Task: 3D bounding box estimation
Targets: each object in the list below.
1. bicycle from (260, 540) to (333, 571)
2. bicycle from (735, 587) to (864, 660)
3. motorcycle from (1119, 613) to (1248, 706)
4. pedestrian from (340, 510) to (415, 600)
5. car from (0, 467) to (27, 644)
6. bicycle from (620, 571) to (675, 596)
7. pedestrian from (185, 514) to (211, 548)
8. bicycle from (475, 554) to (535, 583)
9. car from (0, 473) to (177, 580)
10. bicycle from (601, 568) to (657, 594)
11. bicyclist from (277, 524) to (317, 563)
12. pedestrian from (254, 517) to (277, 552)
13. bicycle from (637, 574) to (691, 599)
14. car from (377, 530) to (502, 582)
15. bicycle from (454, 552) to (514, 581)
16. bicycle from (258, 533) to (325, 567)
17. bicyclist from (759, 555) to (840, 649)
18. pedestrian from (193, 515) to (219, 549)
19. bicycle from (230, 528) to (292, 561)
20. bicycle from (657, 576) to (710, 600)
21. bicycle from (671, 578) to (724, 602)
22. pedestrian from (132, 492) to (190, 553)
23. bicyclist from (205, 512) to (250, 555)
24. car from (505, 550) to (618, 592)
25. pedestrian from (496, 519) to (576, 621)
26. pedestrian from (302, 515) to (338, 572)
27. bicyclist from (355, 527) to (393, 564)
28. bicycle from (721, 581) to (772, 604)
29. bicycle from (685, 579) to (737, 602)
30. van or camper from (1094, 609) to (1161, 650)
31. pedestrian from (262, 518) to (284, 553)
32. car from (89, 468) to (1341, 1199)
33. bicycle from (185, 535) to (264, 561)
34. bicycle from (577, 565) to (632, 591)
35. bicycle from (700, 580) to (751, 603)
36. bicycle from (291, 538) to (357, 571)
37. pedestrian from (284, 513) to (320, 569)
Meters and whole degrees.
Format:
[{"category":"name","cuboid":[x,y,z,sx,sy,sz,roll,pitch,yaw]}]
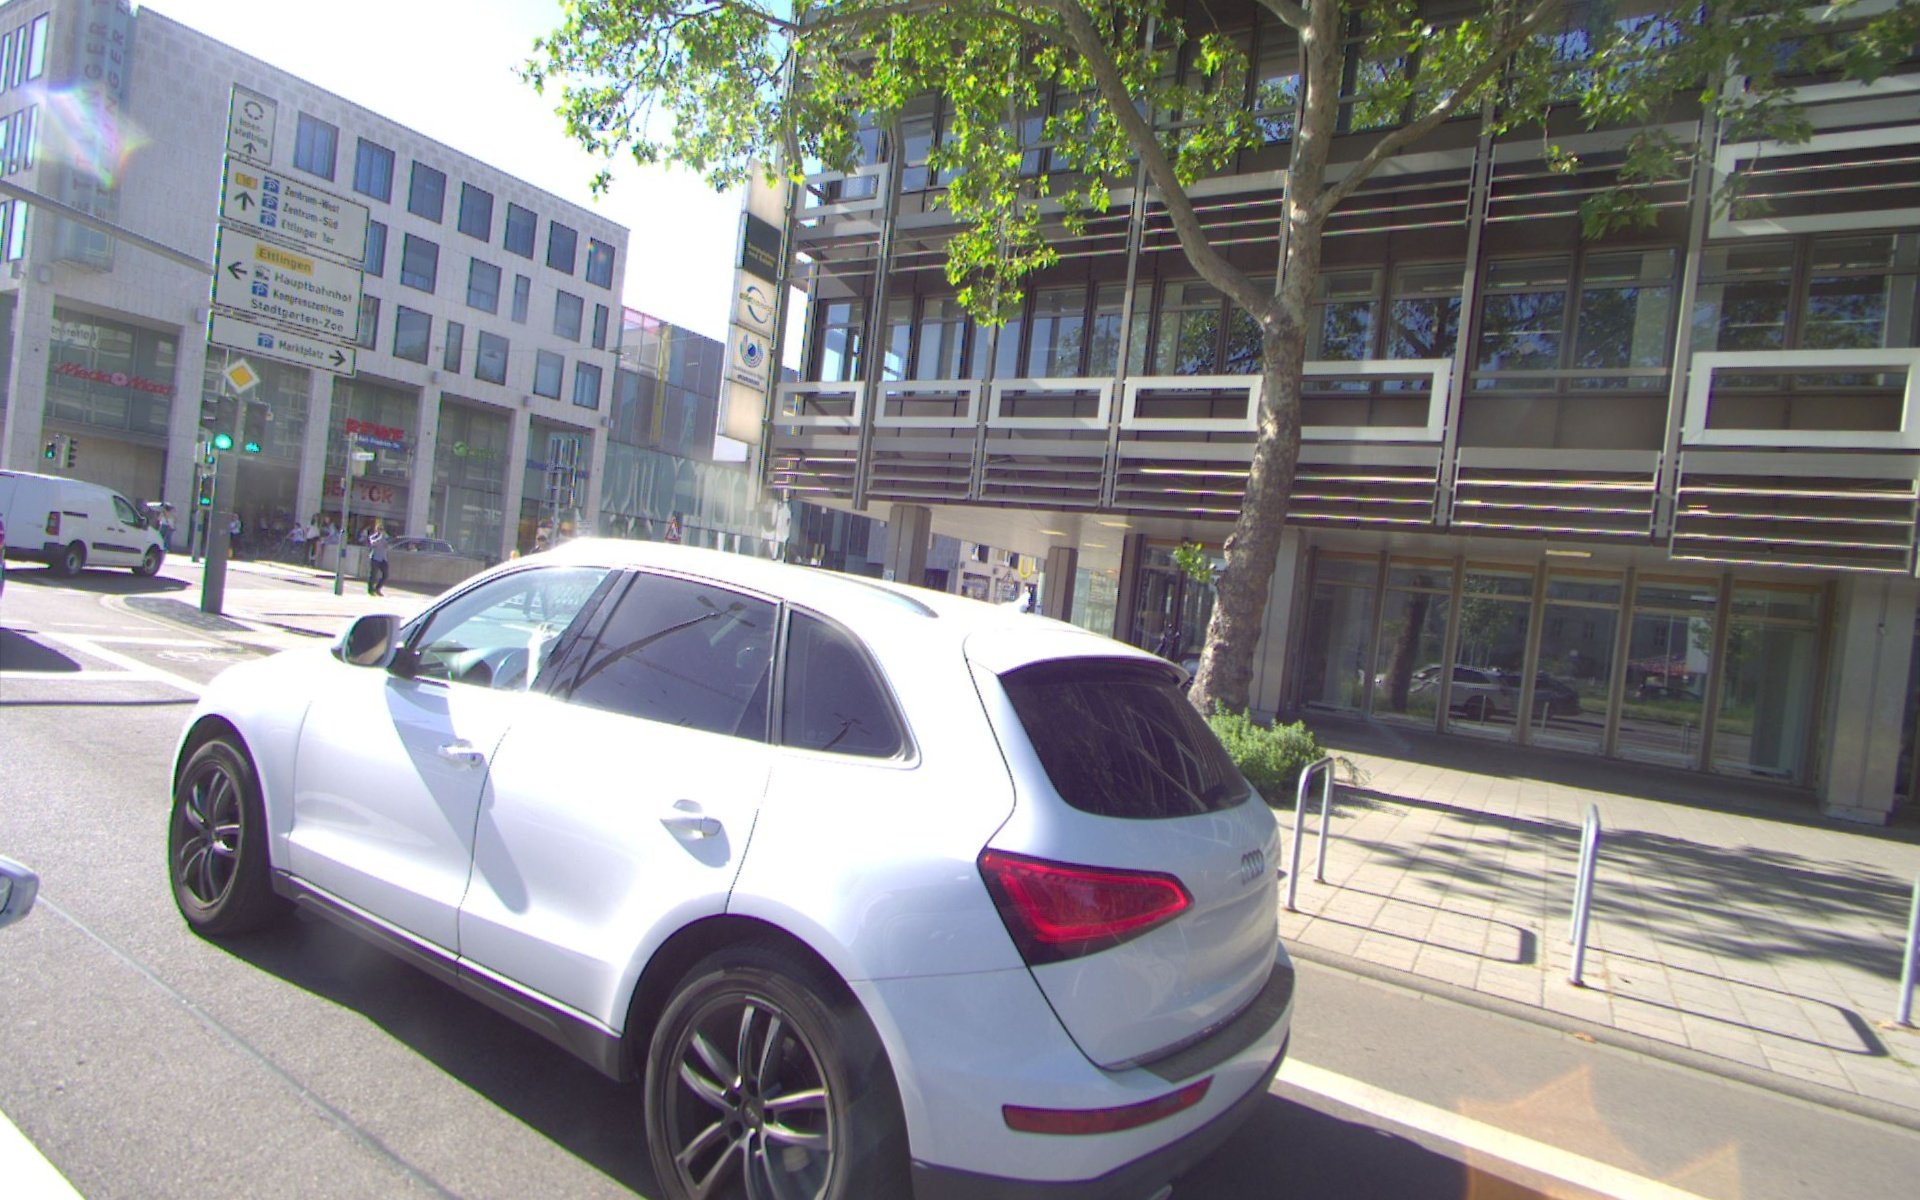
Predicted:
[{"category":"bicycle","cuboid":[-27.004,-1.812,40.954,1.055,0.955,2.194,7,0,35]},{"category":"bicycle","cuboid":[-2.777,0.395,17.352,2.017,0.997,0.882,7,0,31]},{"category":"motorcycle","cuboid":[4.198,1.098,18.958,2.087,1.459,0.824,7,1,32]},{"category":"pedestrian","cuboid":[-14.365,-1.090,24.828,1.059,2.038,0.949,7,0,20]},{"category":"car","cuboid":[-11.617,-0.712,10.364,4.340,1.720,1.787,7,0,32]},{"category":"bicycle","cuboid":[-18.378,-0.975,59.069,3.441,1.107,1.067,7,0,34]},{"category":"pedestrian","cuboid":[-38.470,-3.476,50.773,0.737,1.628,0.556,7,1,-5]},{"category":"bicycle","cuboid":[-23.468,-1.625,51.840,3.441,1.107,1.067,7,0,34]},{"category":"car","cuboid":[-17.308,-1.375,19.490,1.763,1.755,4.150,7,-1,-15]},{"category":"bicycle","cuboid":[-19.157,-1.090,58.198,3.441,1.107,1.067,7,0,34]},{"category":"bicyclist","cuboid":[-26.968,-2.281,40.910,1.059,1.413,0.933,7,1,35]},{"category":"pedestrian","cuboid":[-37.027,-3.483,53.631,0.639,1.785,0.556,7,1,-5]},{"category":"bicycle","cuboid":[-17.774,-0.844,60.385,3.441,1.107,1.067,7,0,34]},{"category":"car","cuboid":[-21.642,-1.803,41.960,1.831,1.632,4.188,5,-1,33]},{"category":"bicycle","cuboid":[-24.040,-1.705,50.804,3.441,1.107,1.067,7,0,34]},{"category":"bicycle","cuboid":[-29.078,-2.179,43.728,3.440,1.107,1.067,7,0,33]},{"category":"bicyclist","cuboid":[-2.773,0.041,17.382,0.869,1.495,0.882,7,1,31]},{"category":"pedestrian","cuboid":[-38.542,-3.459,51.430,0.737,1.628,0.556,7,1,-6]},{"category":"bicycle","cuboid":[-29.686,-2.372,42.734,2.942,1.107,1.067,7,0,33]},{"category":"bicycle","cuboid":[-16.912,-0.745,61.451,3.441,1.107,1.067,7,0,34]},{"category":"bicycle","cuboid":[-16.332,-0.633,62.537,3.441,1.107,1.067,7,0,34]},{"category":"pedestrian","cuboid":[-26.591,-2.576,33.476,1.497,1.825,0.967,7,3,31]},{"category":"bicyclist","cuboid":[-28.317,-2.572,38.899,1.055,1.494,1.022,7,1,35]},{"category":"car","cuboid":[-18.452,-1.316,46.791,1.831,1.438,4.608,5,-1,33]},{"category":"pedestrian","cuboid":[-9.154,-0.639,21.737,1.060,2.038,0.949,7,1,24]},{"category":"pedestrian","cuboid":[-19.426,-1.713,30.546,0.517,1.634,0.661,6,2,22]},{"category":"bicyclist","cuboid":[-25.301,-2.356,43.435,1.024,1.451,0.933,7,1,35]},{"category":"bicycle","cuboid":[-13.931,-0.469,65.688,3.441,1.107,1.067,7,0,34]},{"category":"bicycle","cuboid":[-15.714,-0.609,63.538,3.441,1.107,1.067,7,0,34]},{"category":"van or camper","cuboid":[12.621,2.234,75.367,2.286,2.545,6.411,7,0,34]},{"category":"pedestrian","cuboid":[-37.112,-3.499,54.319,0.639,1.785,0.556,7,1,-5]},{"category":"car","cuboid":[-1.144,0.572,3.685,4.340,1.633,1.822,7,0,32]},{"category":"bicycle","cuboid":[-28.394,-2.000,38.869,1.055,0.679,2.194,7,0,35]},{"category":"bicycle","cuboid":[-20.371,-1.280,57.600,3.441,1.107,1.067,7,0,34]},{"category":"bicycle","cuboid":[-15.042,-0.545,64.491,3.441,1.107,1.067,7,0,34]},{"category":"bicycle","cuboid":[-28.186,-2.038,44.534,3.440,1.107,1.067,7,0,33]},{"category":"pedestrian","cuboid":[-20.053,-1.798,30.672,0.517,1.634,0.661,6,2,22]}]
